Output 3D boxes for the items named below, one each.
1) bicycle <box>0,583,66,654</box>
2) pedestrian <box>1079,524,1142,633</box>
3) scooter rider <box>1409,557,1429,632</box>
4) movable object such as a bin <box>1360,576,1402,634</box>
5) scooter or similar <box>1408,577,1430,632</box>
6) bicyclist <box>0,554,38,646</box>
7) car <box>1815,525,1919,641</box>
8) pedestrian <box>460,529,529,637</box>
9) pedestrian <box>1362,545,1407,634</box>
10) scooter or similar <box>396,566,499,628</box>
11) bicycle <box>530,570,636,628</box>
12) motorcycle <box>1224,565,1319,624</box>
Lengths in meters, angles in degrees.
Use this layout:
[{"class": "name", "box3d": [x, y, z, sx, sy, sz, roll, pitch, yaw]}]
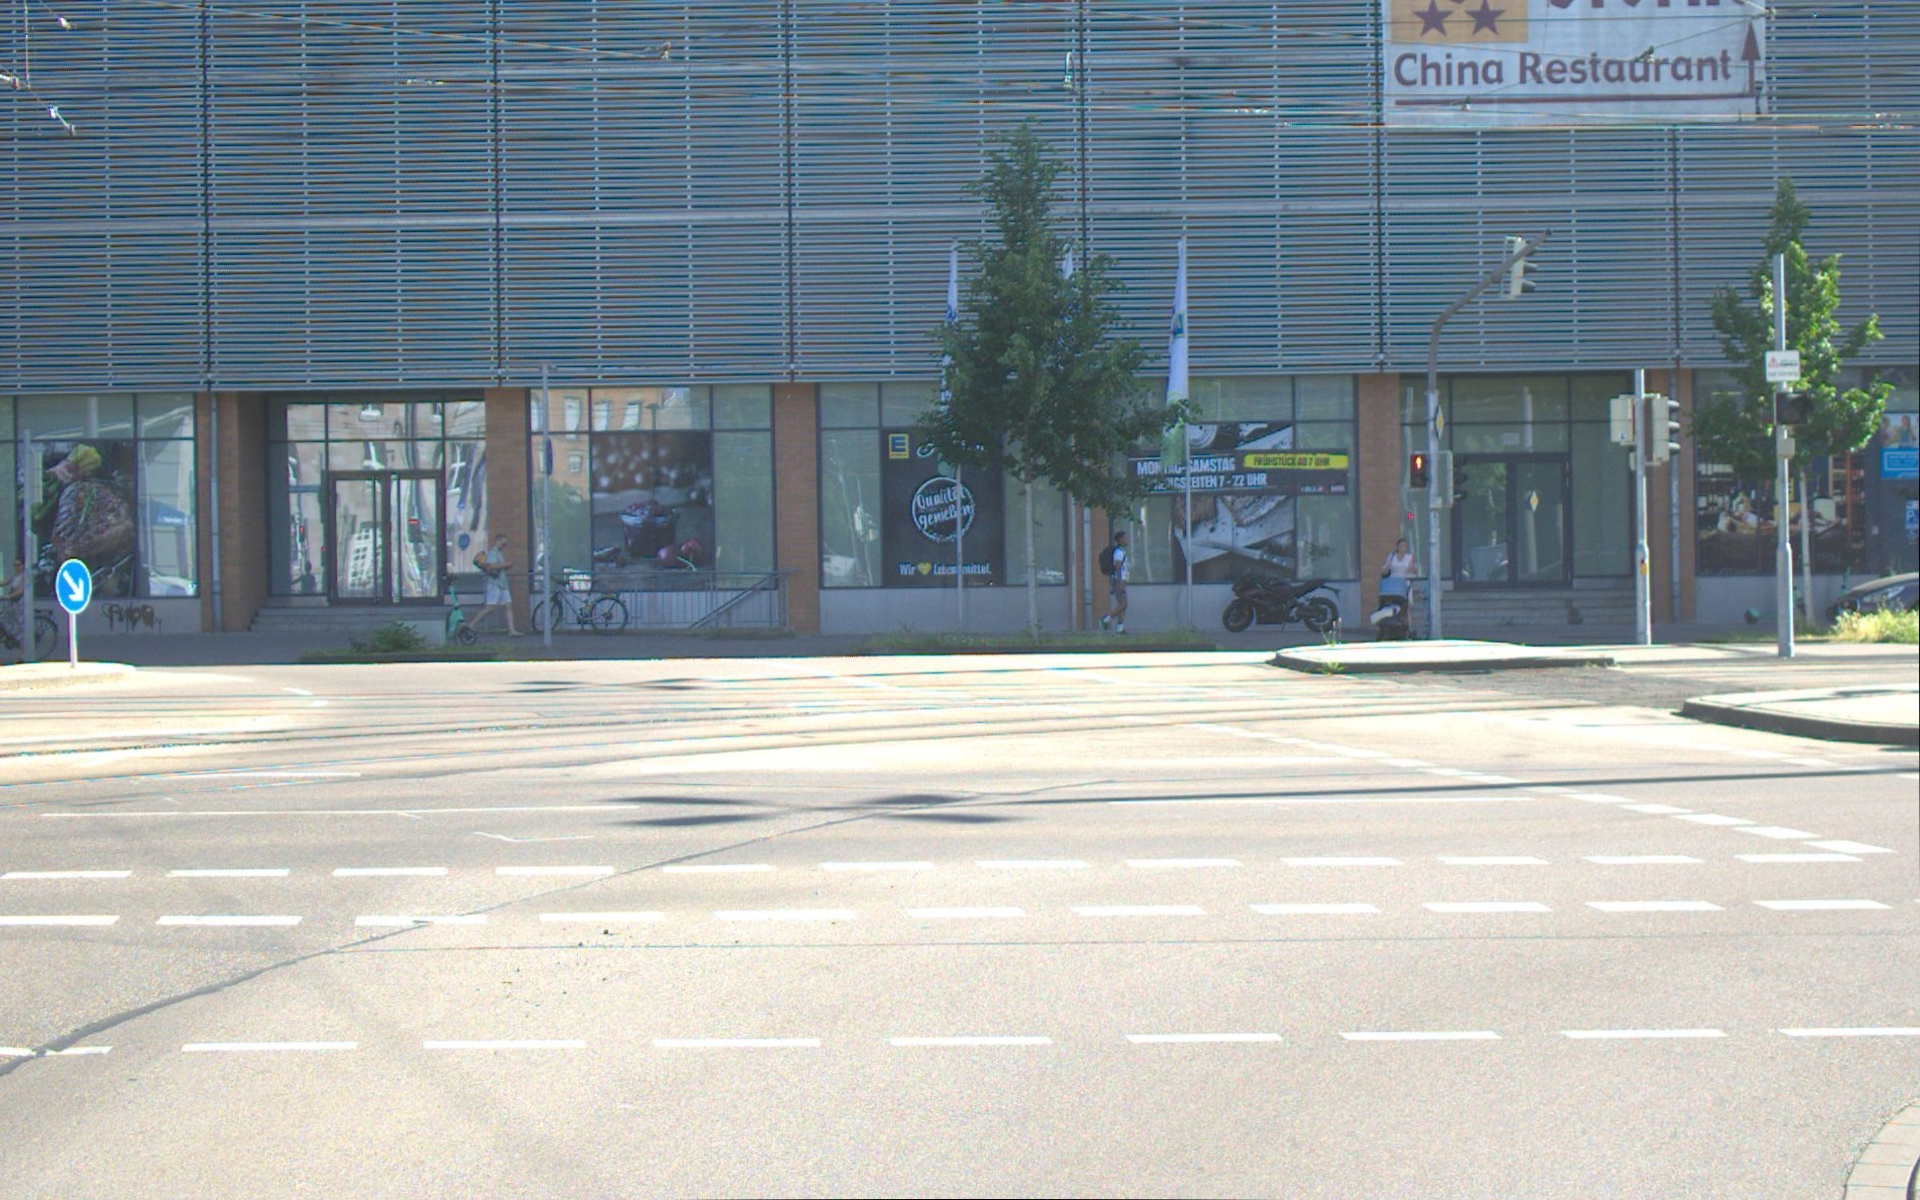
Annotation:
[{"class": "bicycle", "box3d": [-15.243, 0.305, 54.865, 0.568, 1.082, 1.859, 1, 3, 43]}, {"class": "pedestrian", "box3d": [2.585, -0.382, 59.041, 1.012, 1.822, 1.035, -2, 1, 3]}, {"class": "scooter rider", "box3d": [7.347, -0.088, 55.033, 0.288, 1.196, 0.385, 1, 0, 10]}, {"class": "movable object such as a bin", "box3d": [6.715, 0.078, 54.812, 0.613, 0.901, 0.968, 1, 0, 10]}, {"class": "scooter or similar", "box3d": [7.354, 0.074, 55.096, 0.295, 0.870, 1.003, 1, 0, 10]}, {"class": "bicyclist", "box3d": [-15.276, -0.004, 54.785, 0.675, 1.422, 0.847, 1, 3, 43]}, {"class": "car", "box3d": [13.757, -0.142, 45.850, 4.146, 1.464, 1.841, 3, 0, -1]}, {"class": "pedestrian", "box3d": [-8.066, -0.294, 59.613, 0.950, 1.822, 0.846, -2, 1, 5]}, {"class": "pedestrian", "box3d": [6.834, -0.178, 55.273, 0.655, 1.409, 0.849, 1, 0, 10]}, {"class": "scooter or similar", "box3d": [-9.076, -0.050, 60.930, 1.792, 1.062, 0.613, 0, 2, -8]}, {"class": "bicycle", "box3d": [-6.646, -0.020, 60.547, 1.815, 0.986, 0.558, -1, 2, -10]}, {"class": "motorcycle", "box3d": [5.497, -0.103, 60.640, 1.640, 1.001, 0.446, 1, 1, 6]}]
